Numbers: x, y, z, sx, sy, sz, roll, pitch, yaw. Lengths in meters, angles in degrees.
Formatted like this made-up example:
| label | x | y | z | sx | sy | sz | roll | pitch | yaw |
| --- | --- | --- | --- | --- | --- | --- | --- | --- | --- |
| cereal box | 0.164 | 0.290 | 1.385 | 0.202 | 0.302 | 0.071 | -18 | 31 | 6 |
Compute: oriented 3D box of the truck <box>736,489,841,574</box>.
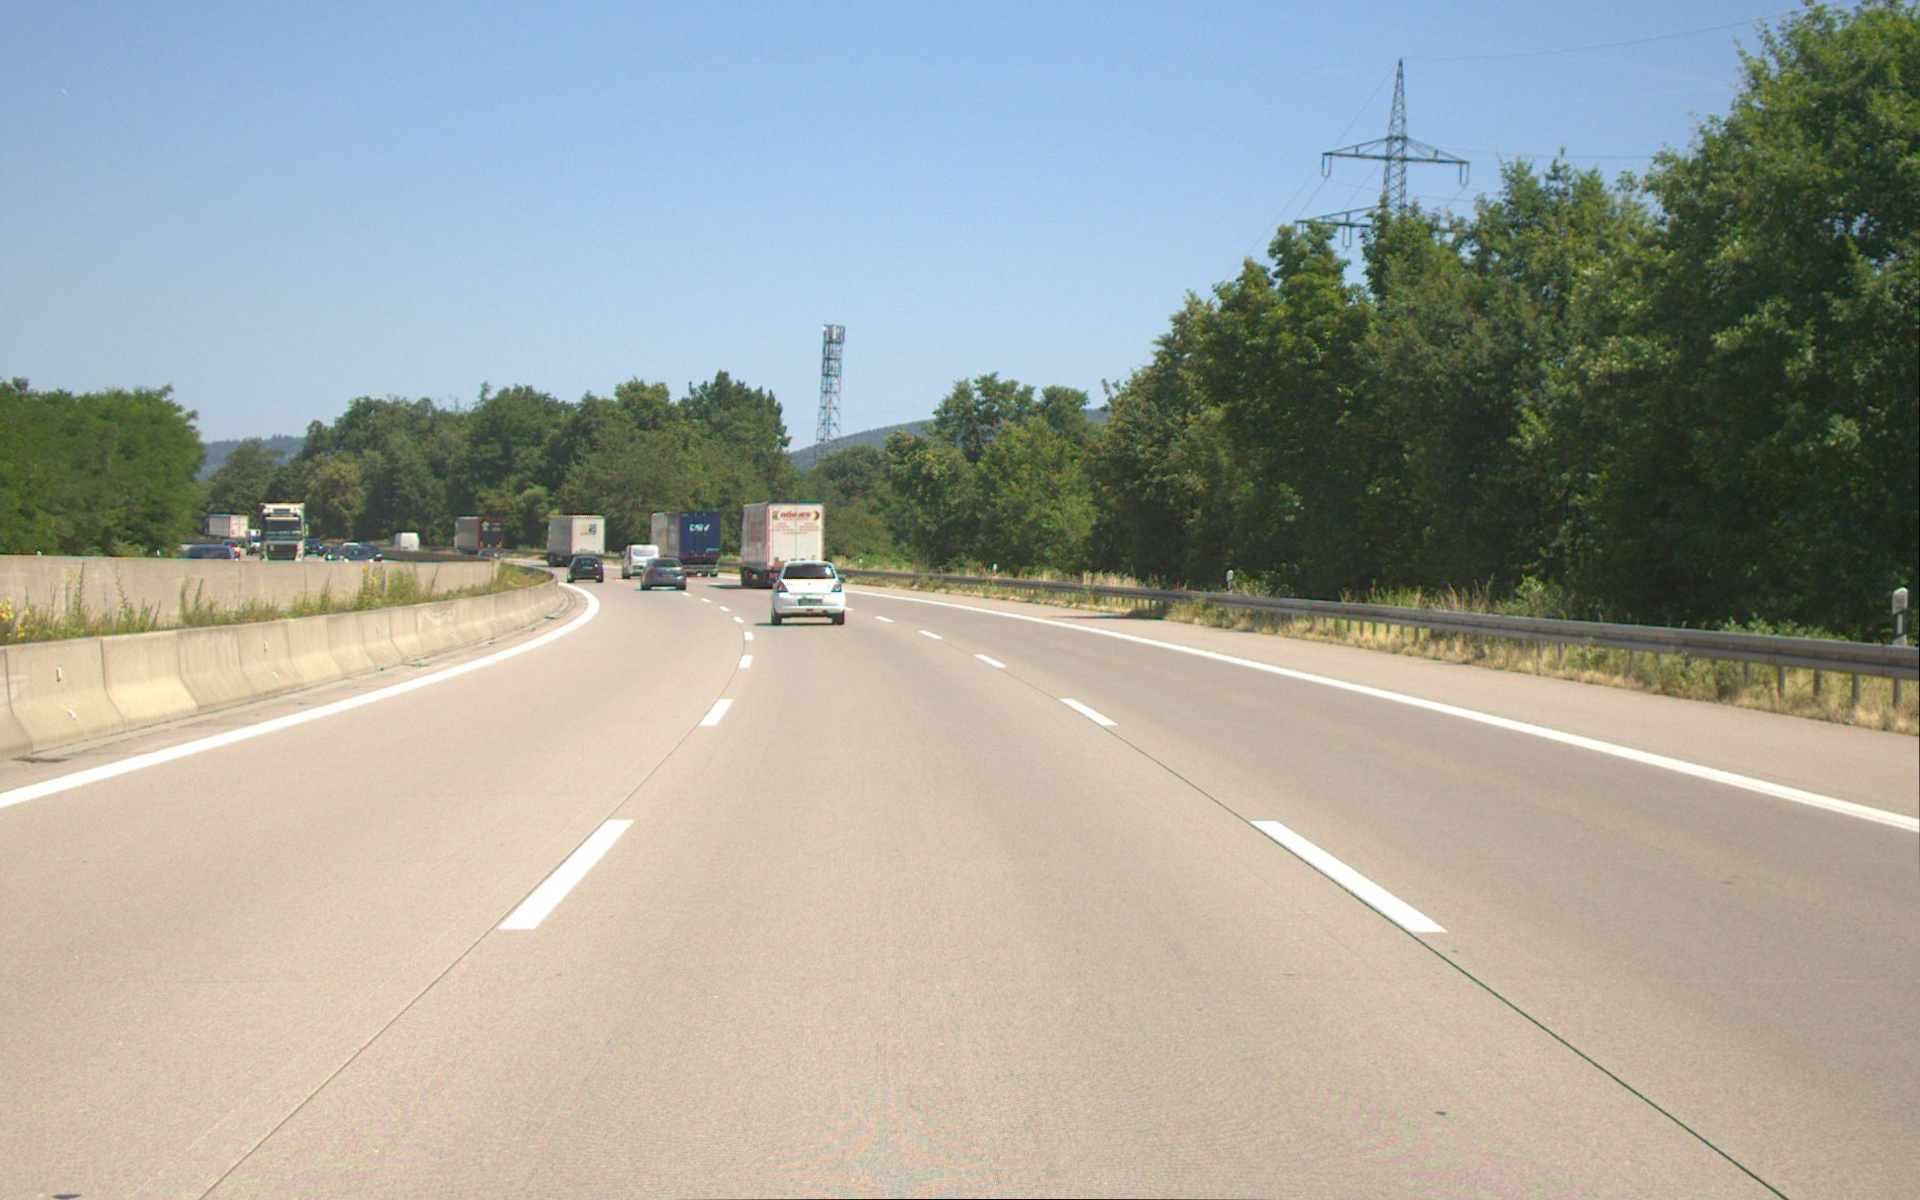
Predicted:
| label | x | y | z | sx | sy | sz | roll | pitch | yaw |
| --- | --- | --- | --- | --- | --- | --- | --- | --- | --- |
| truck | -8.220 | -3.200 | 162.849 | 3.819 | 3.876 | 14.156 | 0 | 1 | -8 |

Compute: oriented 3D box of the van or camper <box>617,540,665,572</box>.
| label | x | y | z | sx | sy | sz | roll | pitch | yaw |
| --- | --- | --- | --- | --- | --- | --- | --- | --- | --- |
| van or camper | -18.724 | -2.597 | 201.708 | 1.867 | 1.831 | 4.001 | 0 | 1 | -20 |

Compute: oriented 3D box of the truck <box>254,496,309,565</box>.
| label | x | y | z | sx | sy | sz | roll | pitch | yaw |
| --- | --- | --- | --- | --- | --- | --- | --- | --- | --- |
| truck | -38.952 | -3.980 | 197.363 | 2.664 | 3.922 | 5.970 | 0 | 1 | -7 |

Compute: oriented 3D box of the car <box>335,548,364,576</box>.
| label | x | y | z | sx | sy | sz | roll | pitch | yaw |
| --- | --- | --- | --- | --- | --- | --- | --- | --- | --- |
| car | -43.521 | -2.725 | 245.089 | 1.861 | 2.007 | 4.001 | 0 | 1 | -7 |

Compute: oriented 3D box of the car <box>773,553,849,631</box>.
| label | x | y | z | sx | sy | sz | roll | pitch | yaw |
| --- | --- | --- | --- | --- | --- | --- | --- | --- | --- |
| car | -3.543 | -0.211 | 81.941 | 1.641 | 1.656 | 3.360 | 5 | 1 | -2 |

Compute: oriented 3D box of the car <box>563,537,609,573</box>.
| label | x | y | z | sx | sy | sz | roll | pitch | yaw |
| --- | --- | --- | --- | --- | --- | --- | --- | --- | --- |
| car | -20.058 | -2.443 | 184.334 | 2.021 | 1.695 | 4.001 | 5 | 1 | -11 |

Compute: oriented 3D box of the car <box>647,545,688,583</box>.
| label | x | y | z | sx | sy | sz | roll | pitch | yaw |
| --- | --- | --- | --- | --- | --- | --- | --- | --- | --- |
| car | -13.202 | -1.627 | 154.912 | 1.610 | 1.719 | 3.574 | 0 | 1 | -8 |

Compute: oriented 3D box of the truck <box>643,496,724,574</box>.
| label | x | y | z | sx | sy | sz | roll | pitch | yaw |
| --- | --- | --- | --- | --- | --- | --- | --- | --- | --- |
| truck | -17.415 | -4.032 | 215.773 | 3.906 | 4.725 | 14.054 | 0 | 1 | -9 |

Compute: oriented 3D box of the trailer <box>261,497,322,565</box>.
| label | x | y | z | sx | sy | sz | roll | pitch | yaw |
| --- | --- | --- | --- | --- | --- | --- | --- | --- | --- |
| trailer | -39.863 | -4.100 | 205.290 | 2.681 | 3.922 | 13.249 | 0 | 1 | -7 |
